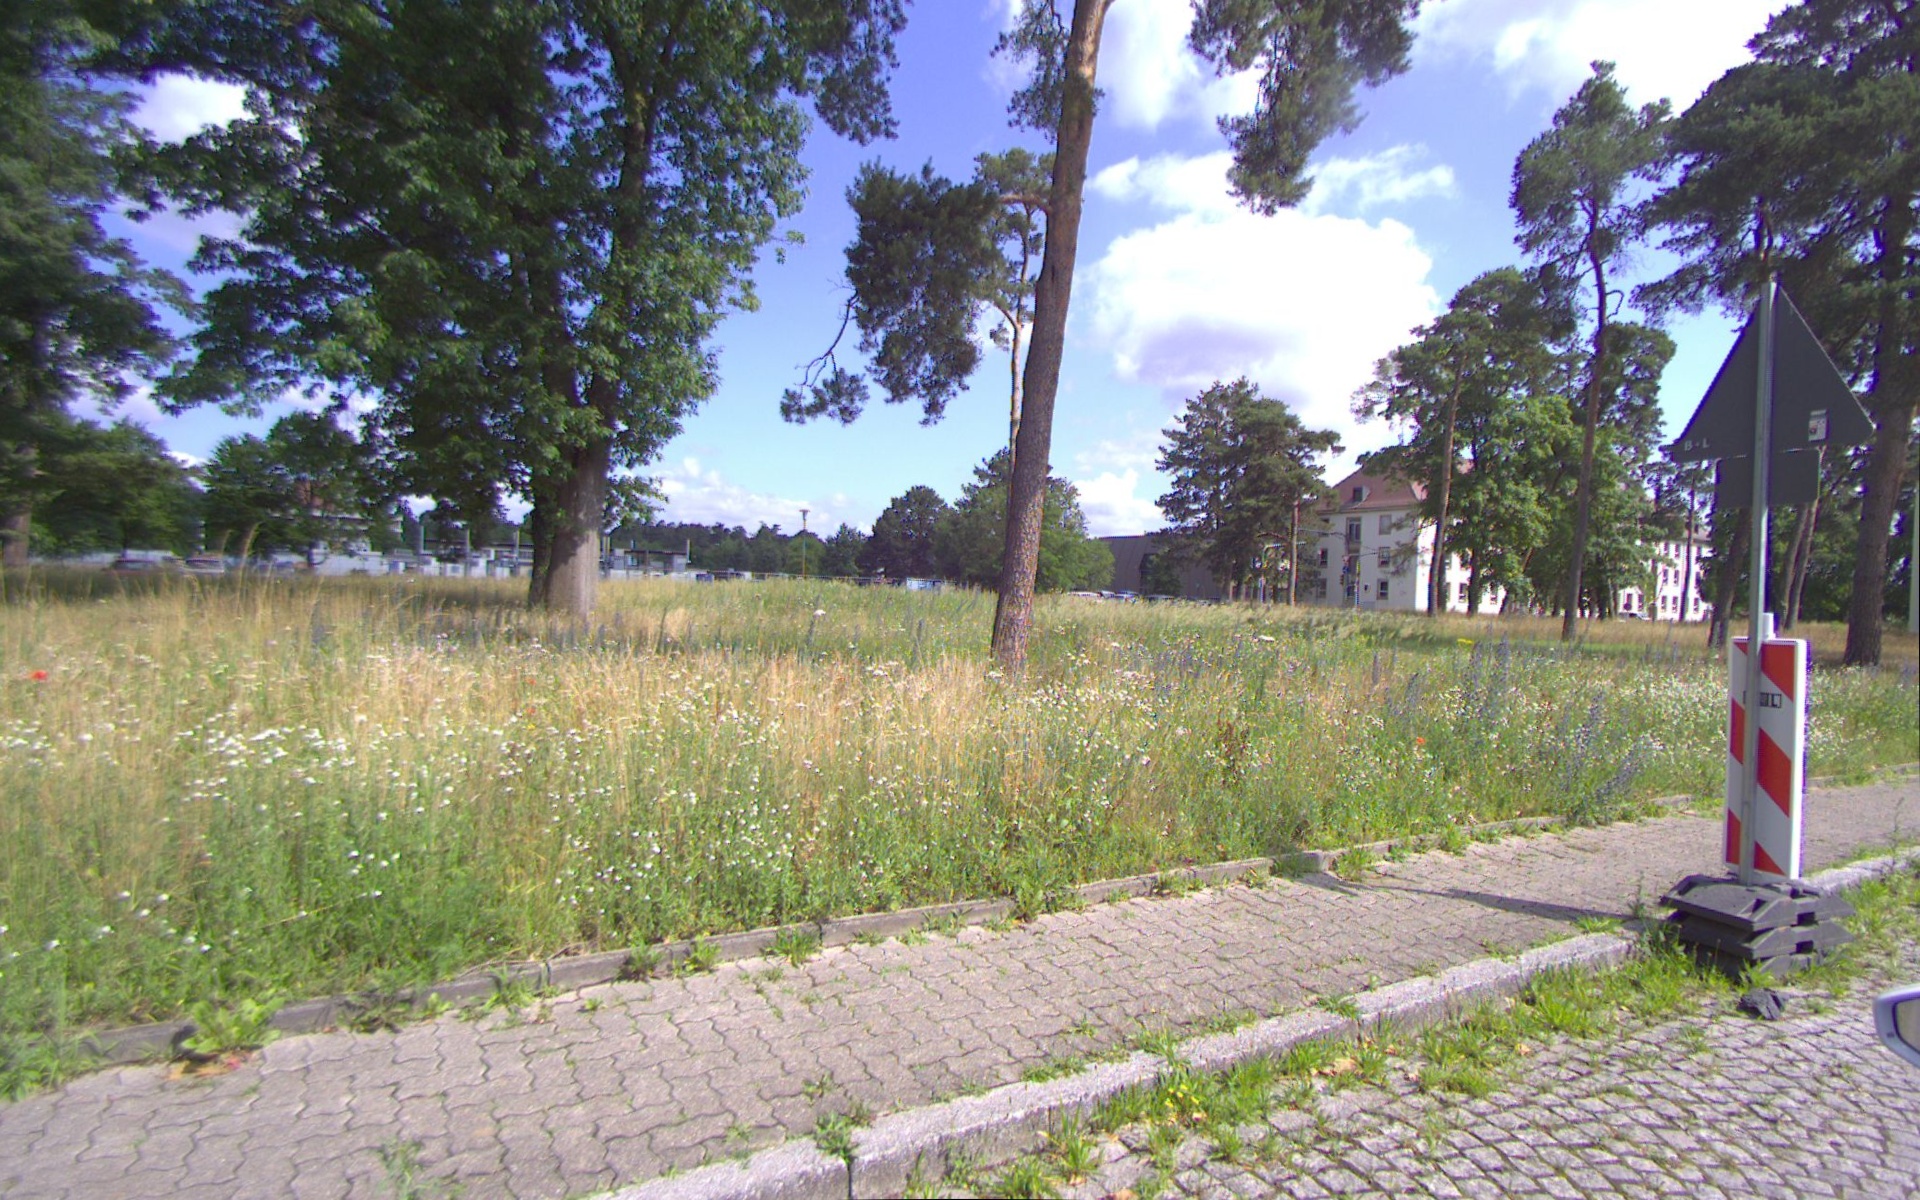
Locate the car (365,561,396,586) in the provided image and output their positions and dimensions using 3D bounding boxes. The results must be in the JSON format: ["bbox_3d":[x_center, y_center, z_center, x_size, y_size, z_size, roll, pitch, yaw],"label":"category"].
[{"bbox_3d":[-42.182,-1.903,73.092,1.879,1.725,4.045,2,0,-31],"label":"car"}]

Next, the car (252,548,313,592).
[{"bbox_3d":[-29.071,-1.265,43.202,1.879,1.713,4.037,2,0,-31],"label":"car"}]

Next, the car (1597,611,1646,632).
[{"bbox_3d":[70.892,2.306,107.709,1.692,2.018,4.041,2,0,-29],"label":"car"}]

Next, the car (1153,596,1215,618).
[{"bbox_3d":[15.245,0.472,68.602,1.879,1.327,4.045,2,0,-31],"label":"car"}]

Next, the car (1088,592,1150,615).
[{"bbox_3d":[10.509,0.237,66.545,1.879,1.356,4.045,2,0,-31],"label":"car"}]

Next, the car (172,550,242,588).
[{"bbox_3d":[-31.222,-1.264,41.765,1.879,1.431,4.037,2,0,-31],"label":"car"}]

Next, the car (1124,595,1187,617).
[{"bbox_3d":[13.114,0.389,67.592,1.879,1.337,4.045,2,0,-31],"label":"car"}]
